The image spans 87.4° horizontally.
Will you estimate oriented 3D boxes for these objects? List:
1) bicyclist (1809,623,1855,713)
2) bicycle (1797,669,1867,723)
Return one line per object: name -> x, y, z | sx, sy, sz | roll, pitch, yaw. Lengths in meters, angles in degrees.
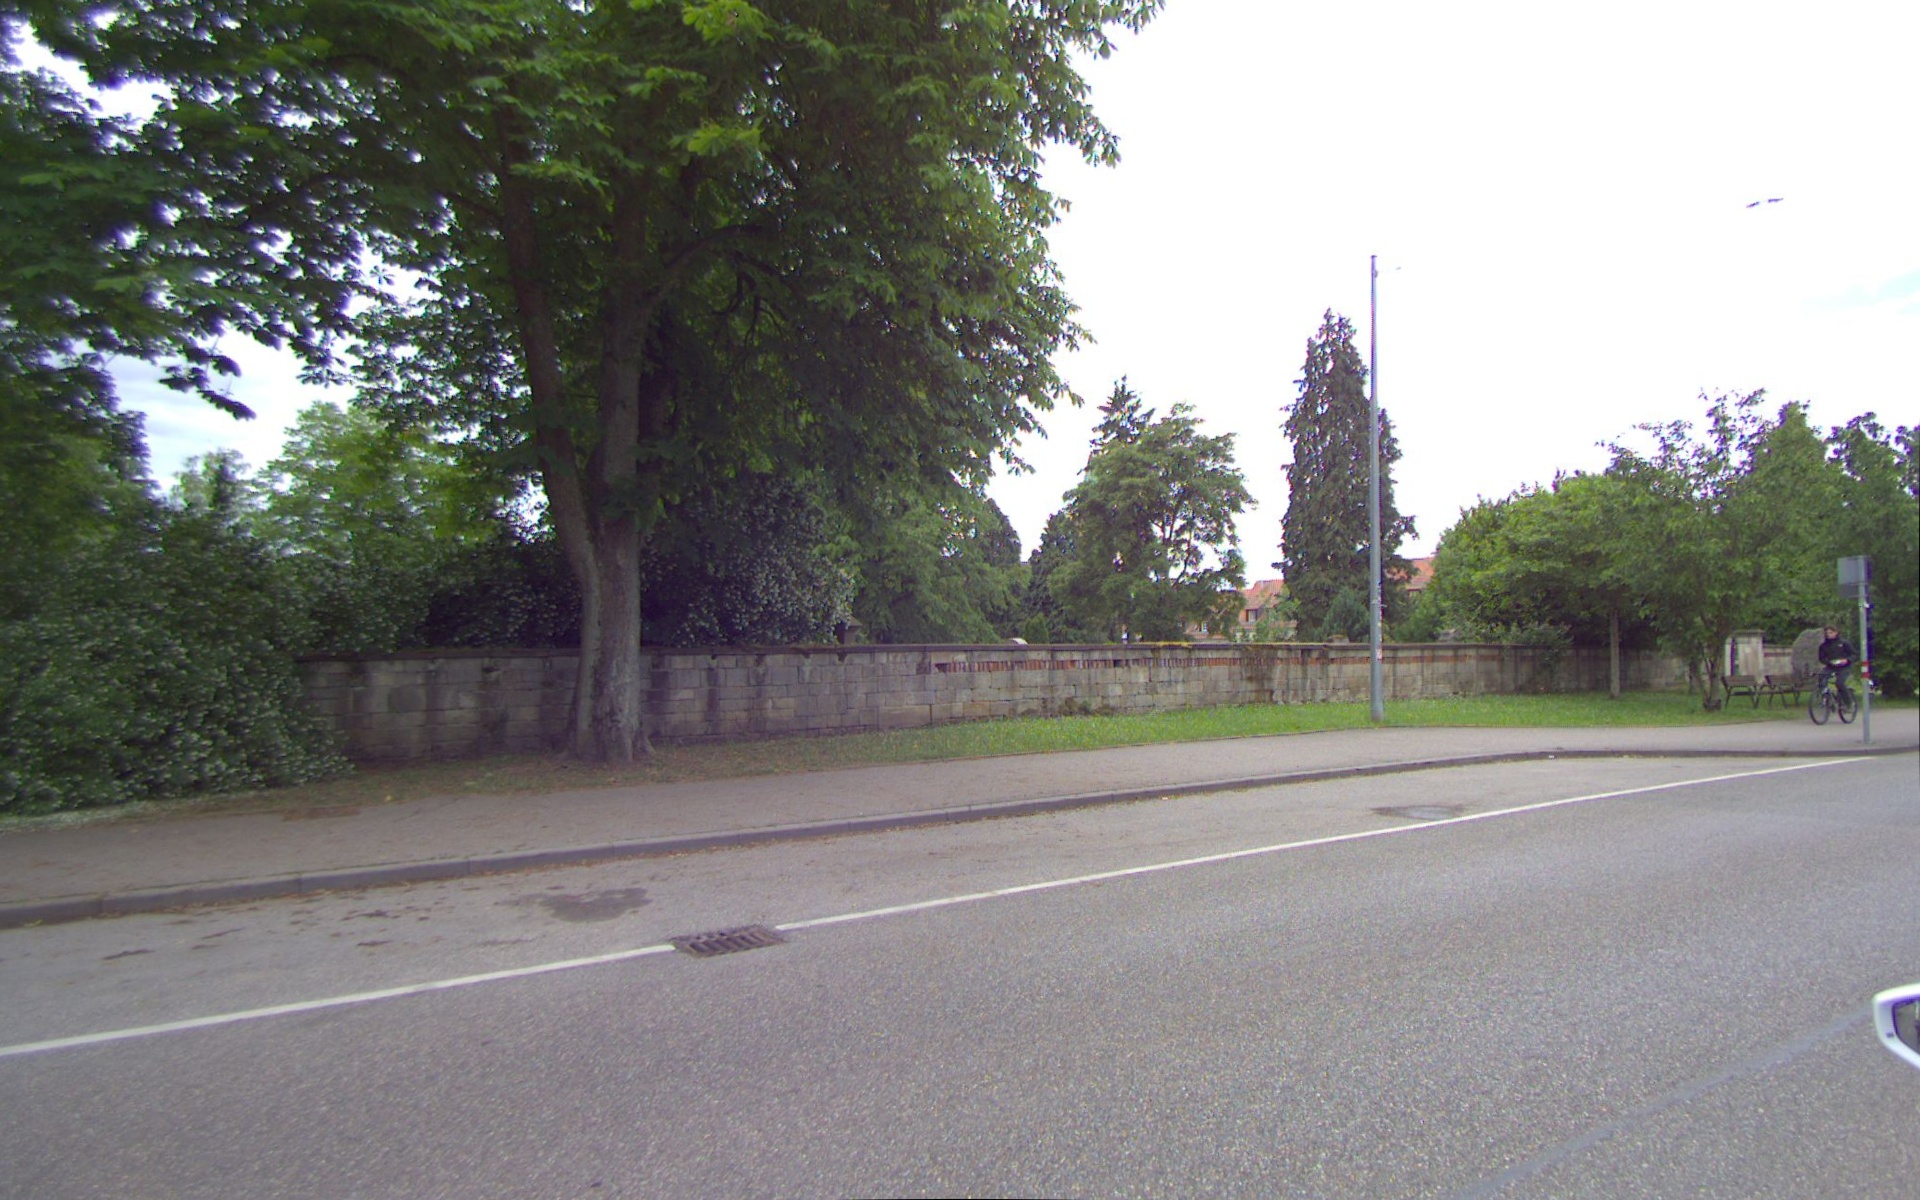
bicyclist -> 17.011, 1.321, 19.592 | 0.581, 1.706, 0.485 | 2, 0, -30
bicycle -> 17.061, 1.855, 19.634 | 1.728, 0.977, 0.493 | 2, 0, -31
